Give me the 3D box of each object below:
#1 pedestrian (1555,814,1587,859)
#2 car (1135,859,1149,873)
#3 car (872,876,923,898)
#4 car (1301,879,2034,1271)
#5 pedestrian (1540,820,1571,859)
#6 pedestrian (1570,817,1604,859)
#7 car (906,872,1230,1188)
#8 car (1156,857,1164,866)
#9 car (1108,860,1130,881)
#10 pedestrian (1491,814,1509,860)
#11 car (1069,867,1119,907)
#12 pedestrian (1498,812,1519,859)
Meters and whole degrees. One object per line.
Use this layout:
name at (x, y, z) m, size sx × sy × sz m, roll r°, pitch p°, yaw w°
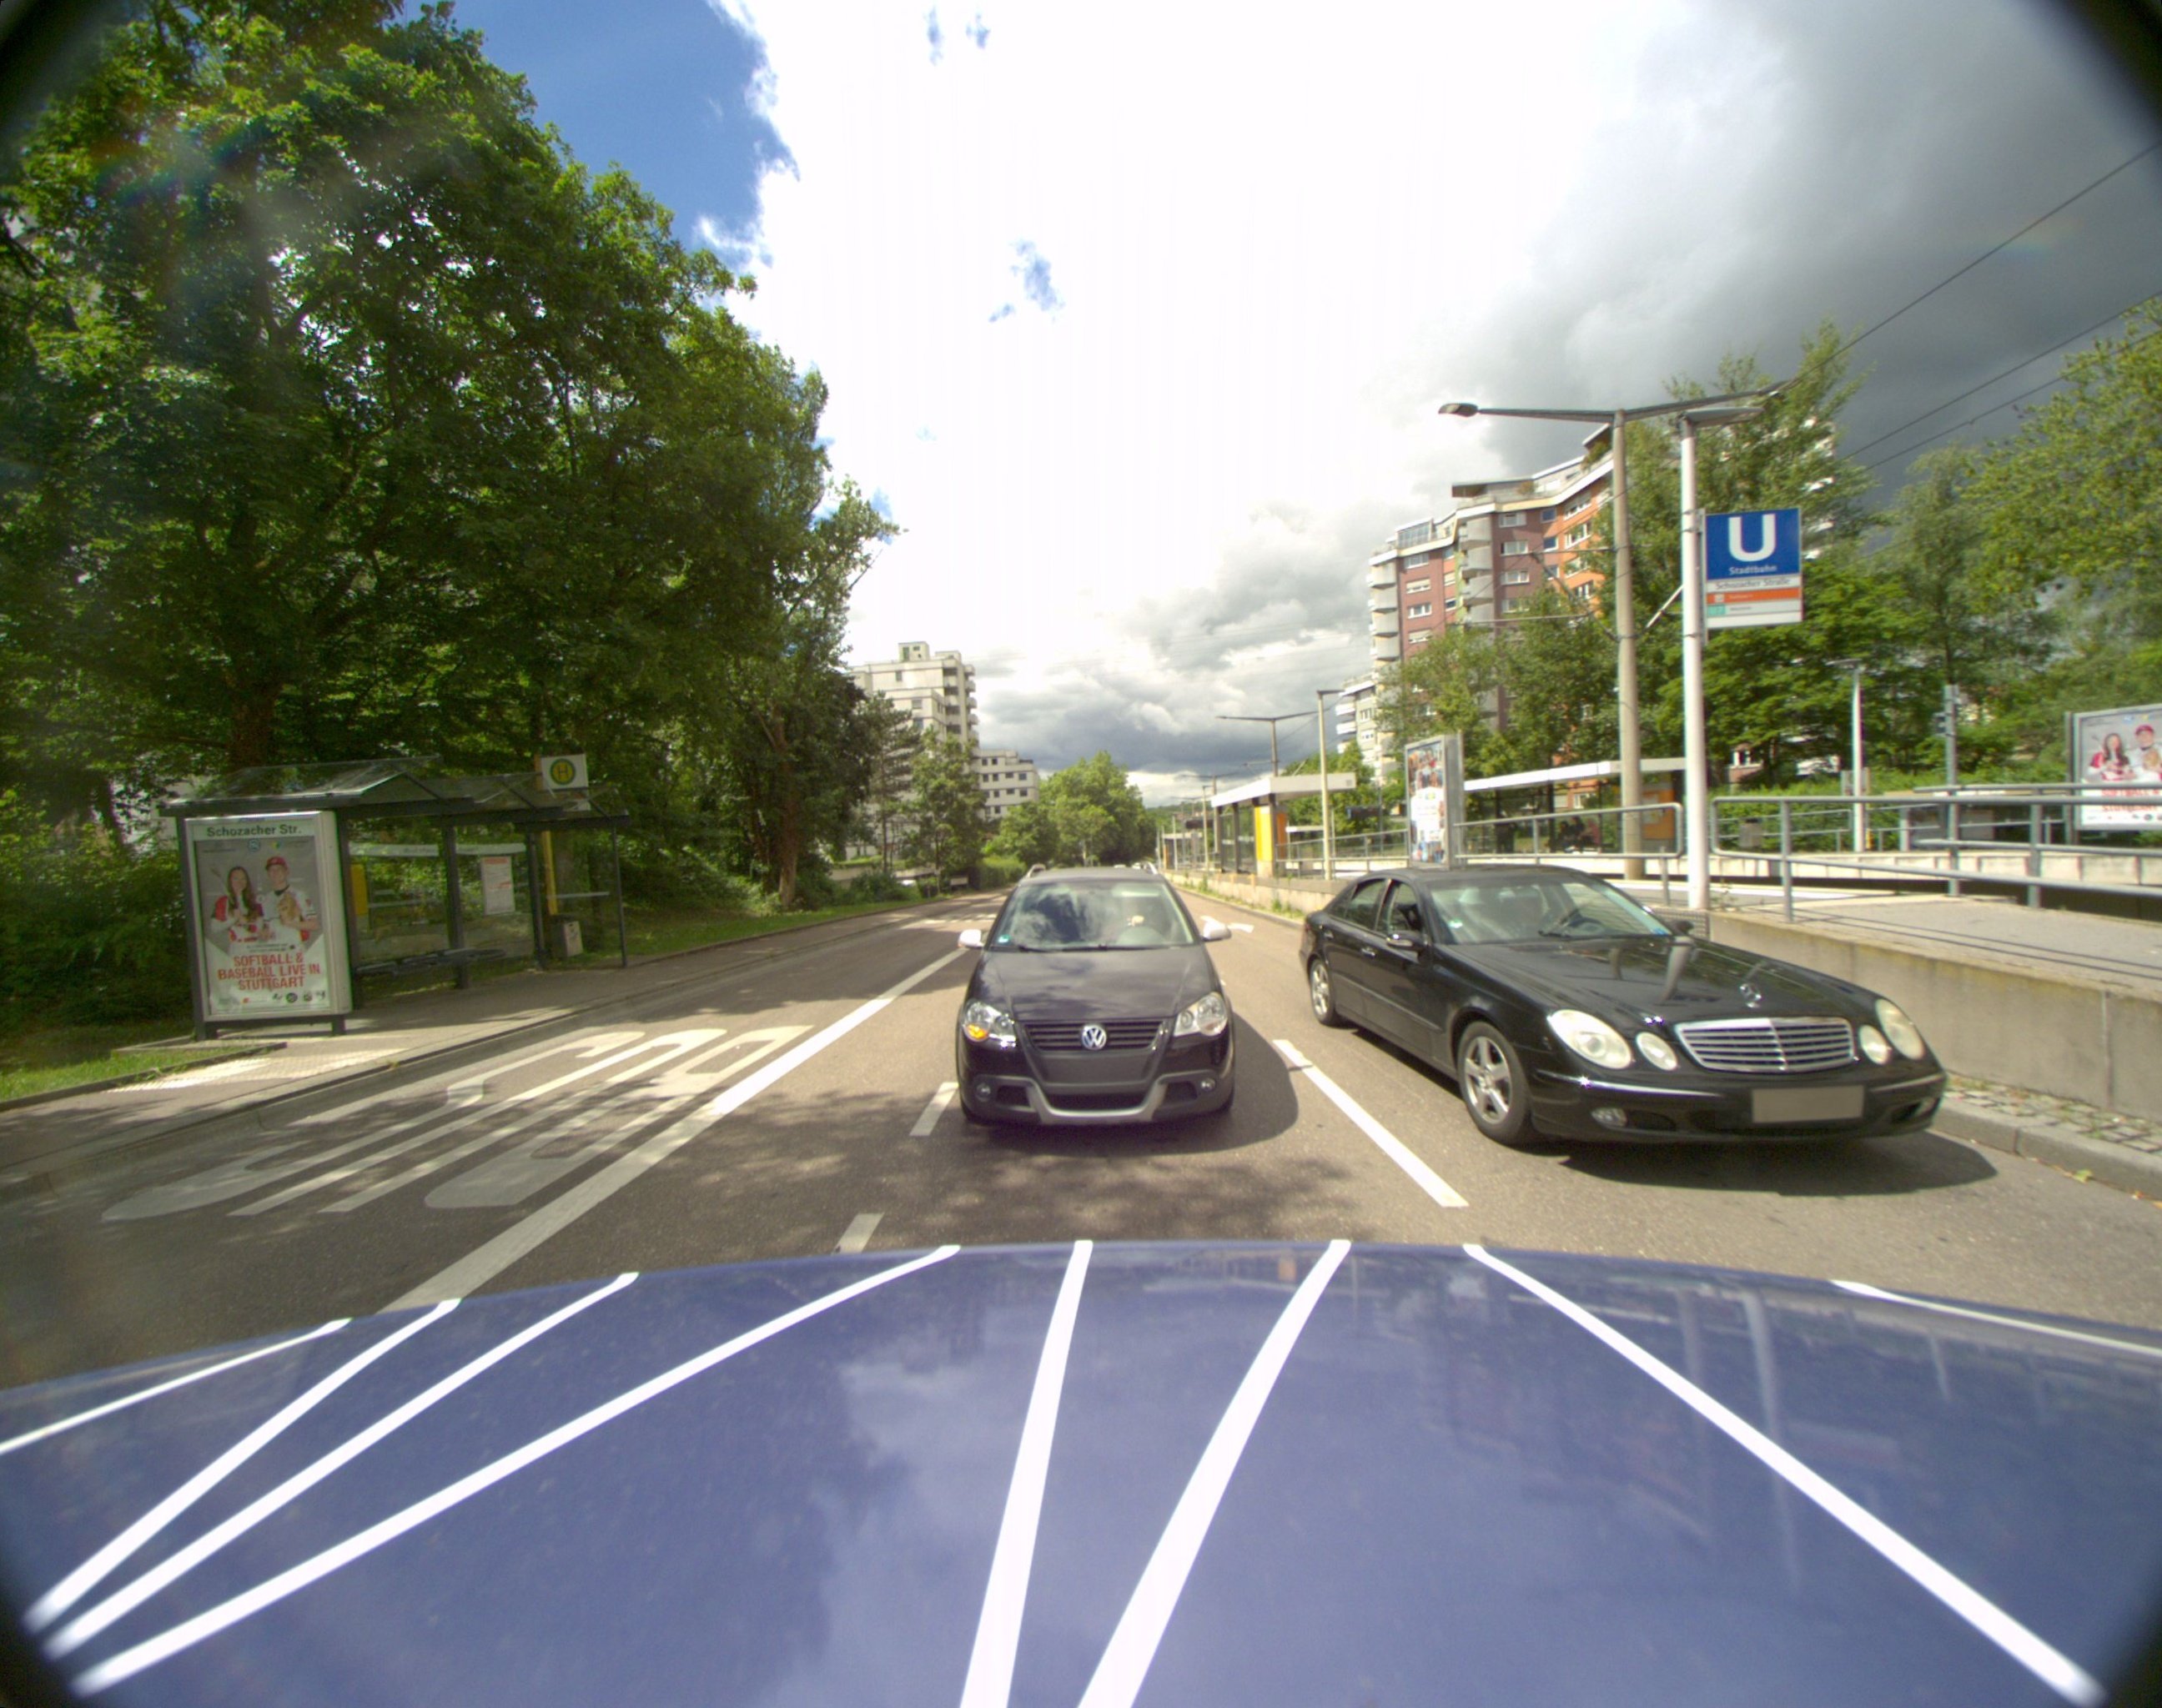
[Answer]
pedestrian at (15.858, -0.560, 24.605) m, size 0.713 × 1.409 × 0.463 m, roll -2°, pitch 0°, yaw 1°
car at (8.266, 1.607, 102.365) m, size 1.801 × 1.698 × 4.001 m, roll -3°, pitch 0°, yaw 5°
car at (-18.424, 3.297, 76.408) m, size 4.543 × 2.002 × 2.001 m, roll -3°, pitch 0°, yaw 8°
car at (2.881, 0.949, 5.024) m, size 1.821 × 1.377 × 4.066 m, roll -2°, pitch 0°, yaw 3°
pedestrian at (16.022, -0.491, 25.667) m, size 0.713 × 1.270 × 0.463 m, roll -2°, pitch 0°, yaw 1°
pedestrian at (15.833, -0.495, 23.772) m, size 0.713 × 1.270 × 0.463 m, roll -2°, pitch 0°, yaw 1°
car at (-0.045, 0.972, 5.990) m, size 1.642 × 1.521 × 4.000 m, roll -2°, pitch 0°, yaw 1°
car at (15.839, 1.549, 152.588) m, size 1.518 × 1.674 × 4.001 m, roll -2°, pitch 0°, yaw 4°
car at (4.115, 1.742, 81.684) m, size 1.997 × 2.002 × 4.002 m, roll -3°, pitch 0°, yaw 7°
pedestrian at (15.796, -0.651, 28.645) m, size 0.354 × 1.703 × 0.426 m, roll -2°, pitch 0°, yaw -41°
car at (0.598, 1.302, 30.927) m, size 1.821 × 1.377 × 4.066 m, roll -2°, pitch 0°, yaw 3°
pedestrian at (16.002, -0.681, 28.432) m, size 0.387 × 1.703 × 0.550 m, roll -2°, pitch 0°, yaw -40°
